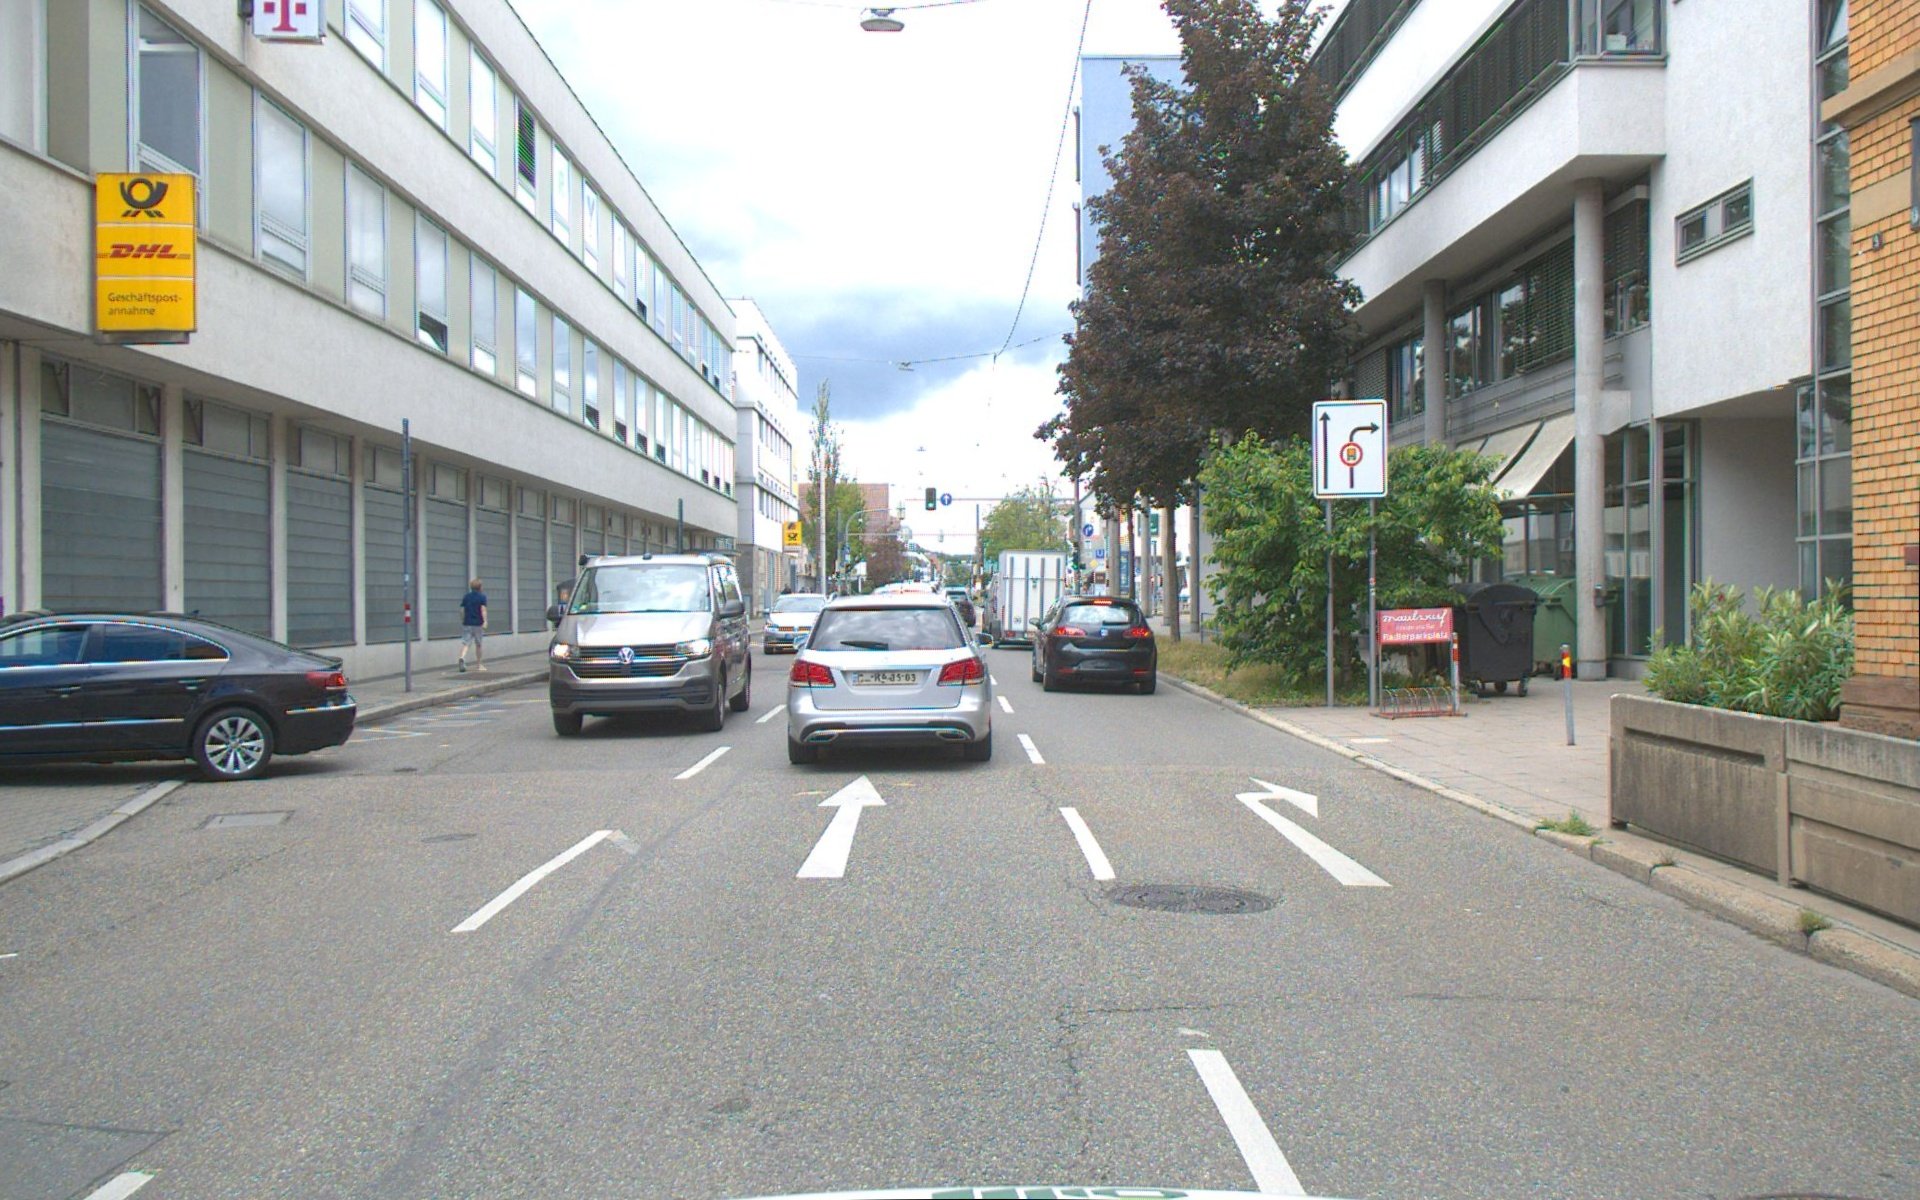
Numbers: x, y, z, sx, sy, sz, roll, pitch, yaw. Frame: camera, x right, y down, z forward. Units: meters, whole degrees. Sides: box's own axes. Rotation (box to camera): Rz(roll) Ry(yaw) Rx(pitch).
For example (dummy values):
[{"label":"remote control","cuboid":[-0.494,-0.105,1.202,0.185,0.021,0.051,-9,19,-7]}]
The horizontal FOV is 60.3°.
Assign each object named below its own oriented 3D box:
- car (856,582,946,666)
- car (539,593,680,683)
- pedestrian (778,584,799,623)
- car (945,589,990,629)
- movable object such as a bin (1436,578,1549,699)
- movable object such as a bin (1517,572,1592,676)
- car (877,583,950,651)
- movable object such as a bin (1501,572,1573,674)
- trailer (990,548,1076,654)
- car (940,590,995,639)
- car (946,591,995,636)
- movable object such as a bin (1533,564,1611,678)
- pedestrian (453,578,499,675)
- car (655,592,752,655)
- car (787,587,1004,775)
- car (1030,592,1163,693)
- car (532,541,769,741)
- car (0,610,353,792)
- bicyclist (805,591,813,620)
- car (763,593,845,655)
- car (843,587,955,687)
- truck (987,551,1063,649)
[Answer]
[{"label":"car","cuboid":[-1.201,0.462,34.503,1.767,1.629,3.737,1,0,-1]},{"label":"car","cuboid":[-6.681,0.676,31.950,1.874,1.543,4.174,-2,0,-1]},{"label":"pedestrian","cuboid":[-8.364,0.183,80.688,0.899,1.901,0.783,0,0,-2]},{"label":"car","cuboid":[0.296,0.362,69.248,1.767,1.629,3.737,1,0,-1]},{"label":"movable object such as a bin","cuboid":[6.994,0.487,21.793,0.924,1.496,1.445,-2,0,-3]},{"label":"movable object such as a bin","cuboid":[9.055,0.370,25.206,0.804,1.516,0.732,-3,-1,0]},{"label":"car","cuboid":[-1.164,0.403,42.273,1.767,1.629,3.737,1,0,-1]},{"label":"movable object such as a bin","cuboid":[9.054,0.365,25.964,0.804,1.530,0.732,-3,-1,0]},{"label":"trailer","cuboid":[1.879,0.013,44.151,1.953,2.653,5.348,-1,0,-1]},{"label":"car","cuboid":[0.237,0.468,56.474,1.767,1.629,3.737,1,0,-1]},{"label":"car","cuboid":[0.378,0.485,62.994,1.767,1.629,3.737,1,0,-1]},{"label":"movable object such as a bin","cuboid":[9.032,0.306,24.451,0.804,1.617,0.732,-3,-1,0]},{"label":"pedestrian","cuboid":[-9.042,0.485,30.912,0.629,1.800,0.810,0,0,-1]},{"label":"car","cuboid":[-6.658,0.587,43.353,1.953,1.543,4.174,-1,0,-1]},{"label":"car","cuboid":[-0.563,0.652,15.437,1.767,1.519,3.737,-1,0,-1]},{"label":"car","cuboid":[2.086,0.610,26.195,1.730,1.458,3.828,0,0,-1]},{"label":"car","cuboid":[-3.532,0.413,19.824,1.953,2.049,4.901,-2,0,-1]},{"label":"car","cuboid":[-7.609,0.817,14.108,4.353,1.389,1.767,-1,0,-31]},{"label":"bicyclist","cuboid":[-9.137,0.339,100.108,0.436,1.726,0.555,1,0,-1]},{"label":"car","cuboid":[-3.918,0.580,42.106,1.733,1.438,4.174,-2,0,-1]},{"label":"car","cuboid":[-1.011,0.577,28.139,1.767,1.580,3.737,-1,0,-1]},{"label":"truck","cuboid":[1.816,-0.012,46.948,1.953,2.653,3.259,-1,0,-1]}]
